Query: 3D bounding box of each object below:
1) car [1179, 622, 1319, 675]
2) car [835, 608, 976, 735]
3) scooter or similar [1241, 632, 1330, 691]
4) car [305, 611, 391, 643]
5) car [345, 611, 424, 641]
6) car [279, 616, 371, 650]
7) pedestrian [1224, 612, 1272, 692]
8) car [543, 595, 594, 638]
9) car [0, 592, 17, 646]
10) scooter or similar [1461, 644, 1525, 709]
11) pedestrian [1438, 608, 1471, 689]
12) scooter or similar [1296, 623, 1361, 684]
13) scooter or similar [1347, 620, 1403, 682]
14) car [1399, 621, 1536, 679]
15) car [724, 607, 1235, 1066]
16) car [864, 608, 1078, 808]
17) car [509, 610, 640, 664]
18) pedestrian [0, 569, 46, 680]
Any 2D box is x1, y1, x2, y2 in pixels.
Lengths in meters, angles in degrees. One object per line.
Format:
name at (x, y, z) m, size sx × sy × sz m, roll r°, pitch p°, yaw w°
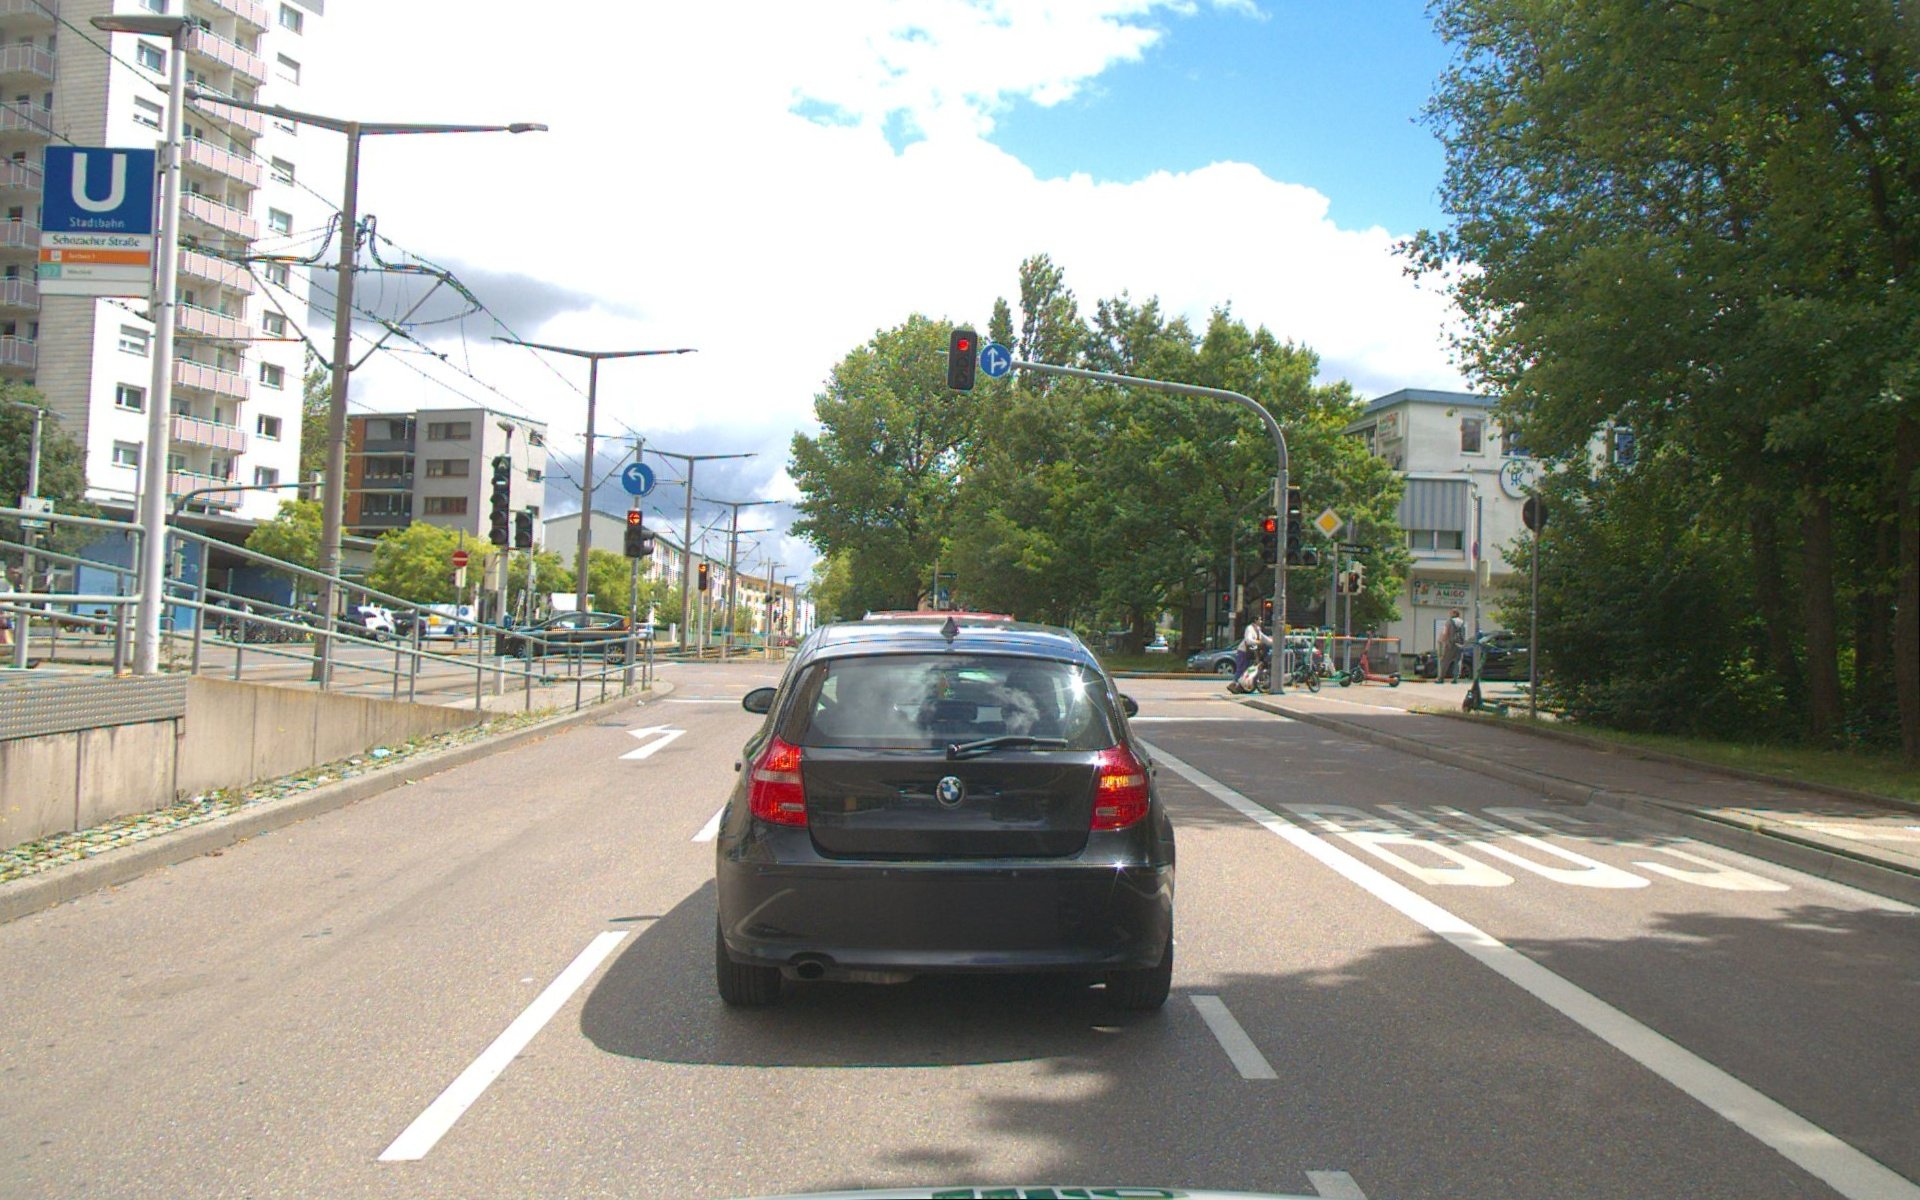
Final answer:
car at (8.854, 1.478, 50.792) m, size 3.913 × 1.553 × 1.672 m, roll 1°, pitch 0°, yaw -9°
car at (-0.701, 0.845, 21.054) m, size 1.621 × 1.443 × 3.515 m, roll 1°, pitch 0°, yaw -2°
scooter or similar at (6.062, 1.136, 30.793) m, size 1.760 × 1.069 × 0.407 m, roll 1°, pitch 0°, yaw -28°
car at (-28.800, 1.266, 77.889) m, size 3.537 × 1.488 × 1.613 m, roll 1°, pitch 0°, yaw -9°
car at (-29.510, 1.314, 84.881) m, size 3.537 × 1.488 × 1.613 m, roll 1°, pitch 0°, yaw -9°
car at (-28.204, 1.459, 73.539) m, size 3.537 × 1.488 × 1.613 m, roll 1°, pitch 0°, yaw -9°
pedestrian at (5.405, 0.959, 31.023) m, size 0.846 × 1.468 × 0.799 m, roll 1°, pitch -1°, yaw 12°
car at (-25.239, 1.063, 106.796) m, size 2.096 × 2.686 × 5.356 m, roll 1°, pitch 0°, yaw -2°
car at (-28.877, 0.513, 45.605) m, size 4.550 × 1.506 × 1.997 m, roll 1°, pitch 0°, yaw -7°
scooter or similar at (9.387, 1.347, 29.137) m, size 1.133 × 1.118 × 0.329 m, roll 1°, pitch -1°, yaw -25°
pedestrian at (11.473, 1.125, 38.345) m, size 0.600 × 1.821 × 0.569 m, roll 4°, pitch -1°, yaw 18°
scooter or similar at (7.464, 1.084, 33.495) m, size 1.267 × 1.210 × 0.383 m, roll 1°, pitch -1°, yaw -17°
scooter or similar at (8.629, 1.054, 34.385) m, size 1.087 × 1.280 × 0.331 m, roll 1°, pitch -1°, yaw -13°
car at (14.990, 1.468, 48.880) m, size 3.515 × 1.629 × 1.706 m, roll 1°, pitch -1°, yaw -13°
car at (0.093, 0.764, 7.072) m, size 1.620 × 1.443 × 3.517 m, roll 1°, pitch 0°, yaw 1°
car at (0.082, 0.802, 13.952) m, size 1.562 × 1.443 × 3.516 m, roll 1°, pitch 0°, yaw 0°
car at (-11.021, 1.053, 47.463) m, size 3.537 × 1.488 × 1.613 m, roll 1°, pitch 0°, yaw -9°
pedestrian at (-15.019, 0.378, 26.011) m, size 0.673 × 1.726 × 0.861 m, roll 1°, pitch -1°, yaw 19°
